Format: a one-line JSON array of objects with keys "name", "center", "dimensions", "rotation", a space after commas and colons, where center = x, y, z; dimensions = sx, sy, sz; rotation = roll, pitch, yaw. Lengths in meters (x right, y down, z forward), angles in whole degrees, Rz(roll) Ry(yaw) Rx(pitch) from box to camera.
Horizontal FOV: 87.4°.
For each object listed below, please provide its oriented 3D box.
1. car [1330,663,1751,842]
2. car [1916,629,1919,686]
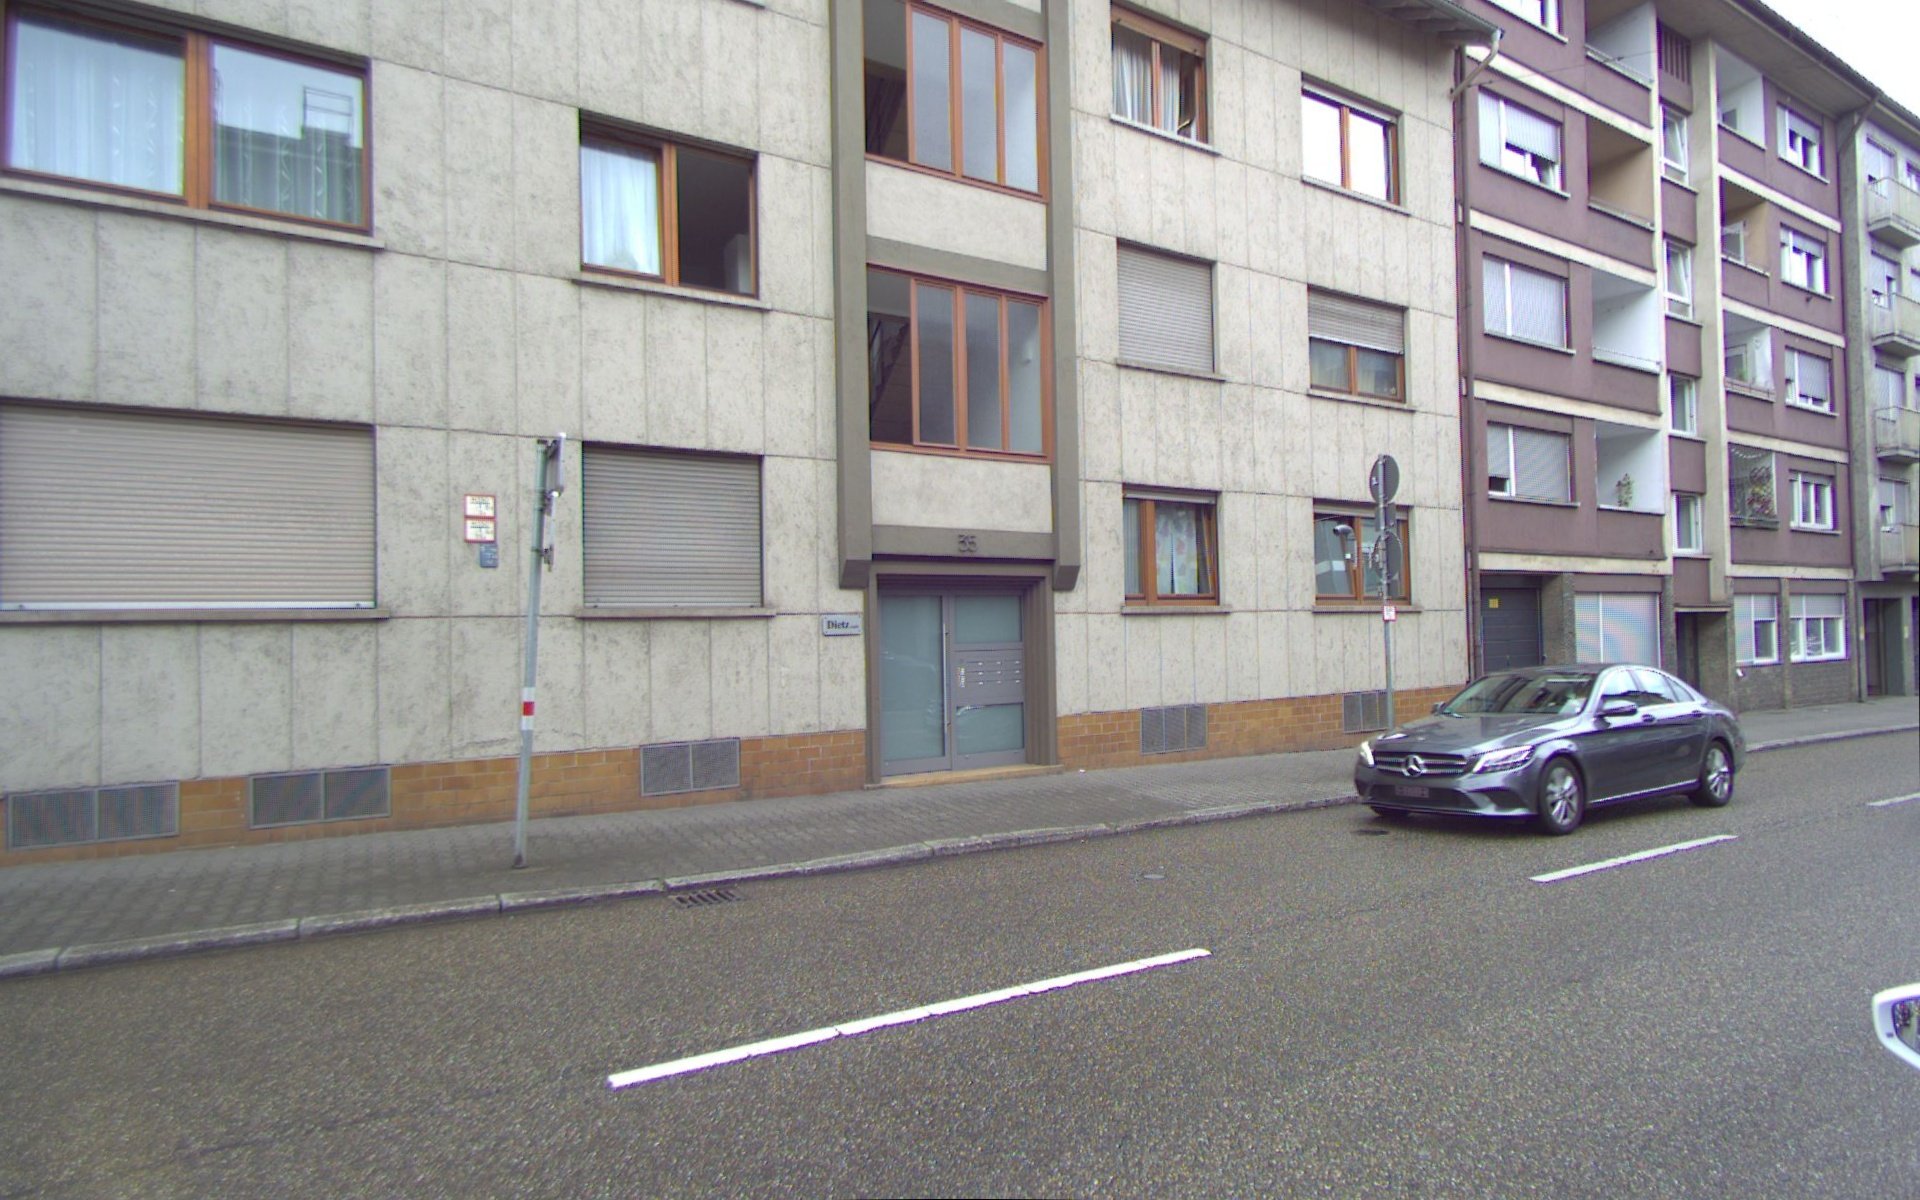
[{"name": "car", "center": [5.746, 1.340, 9.810], "dimensions": [4.318, 1.388, 1.686], "rotation": [2, -5, -32]}, {"name": "car", "center": [10.225, 1.058, 8.744], "dimensions": [4.170, 1.601, 1.687], "rotation": [2, -5, -32]}]
